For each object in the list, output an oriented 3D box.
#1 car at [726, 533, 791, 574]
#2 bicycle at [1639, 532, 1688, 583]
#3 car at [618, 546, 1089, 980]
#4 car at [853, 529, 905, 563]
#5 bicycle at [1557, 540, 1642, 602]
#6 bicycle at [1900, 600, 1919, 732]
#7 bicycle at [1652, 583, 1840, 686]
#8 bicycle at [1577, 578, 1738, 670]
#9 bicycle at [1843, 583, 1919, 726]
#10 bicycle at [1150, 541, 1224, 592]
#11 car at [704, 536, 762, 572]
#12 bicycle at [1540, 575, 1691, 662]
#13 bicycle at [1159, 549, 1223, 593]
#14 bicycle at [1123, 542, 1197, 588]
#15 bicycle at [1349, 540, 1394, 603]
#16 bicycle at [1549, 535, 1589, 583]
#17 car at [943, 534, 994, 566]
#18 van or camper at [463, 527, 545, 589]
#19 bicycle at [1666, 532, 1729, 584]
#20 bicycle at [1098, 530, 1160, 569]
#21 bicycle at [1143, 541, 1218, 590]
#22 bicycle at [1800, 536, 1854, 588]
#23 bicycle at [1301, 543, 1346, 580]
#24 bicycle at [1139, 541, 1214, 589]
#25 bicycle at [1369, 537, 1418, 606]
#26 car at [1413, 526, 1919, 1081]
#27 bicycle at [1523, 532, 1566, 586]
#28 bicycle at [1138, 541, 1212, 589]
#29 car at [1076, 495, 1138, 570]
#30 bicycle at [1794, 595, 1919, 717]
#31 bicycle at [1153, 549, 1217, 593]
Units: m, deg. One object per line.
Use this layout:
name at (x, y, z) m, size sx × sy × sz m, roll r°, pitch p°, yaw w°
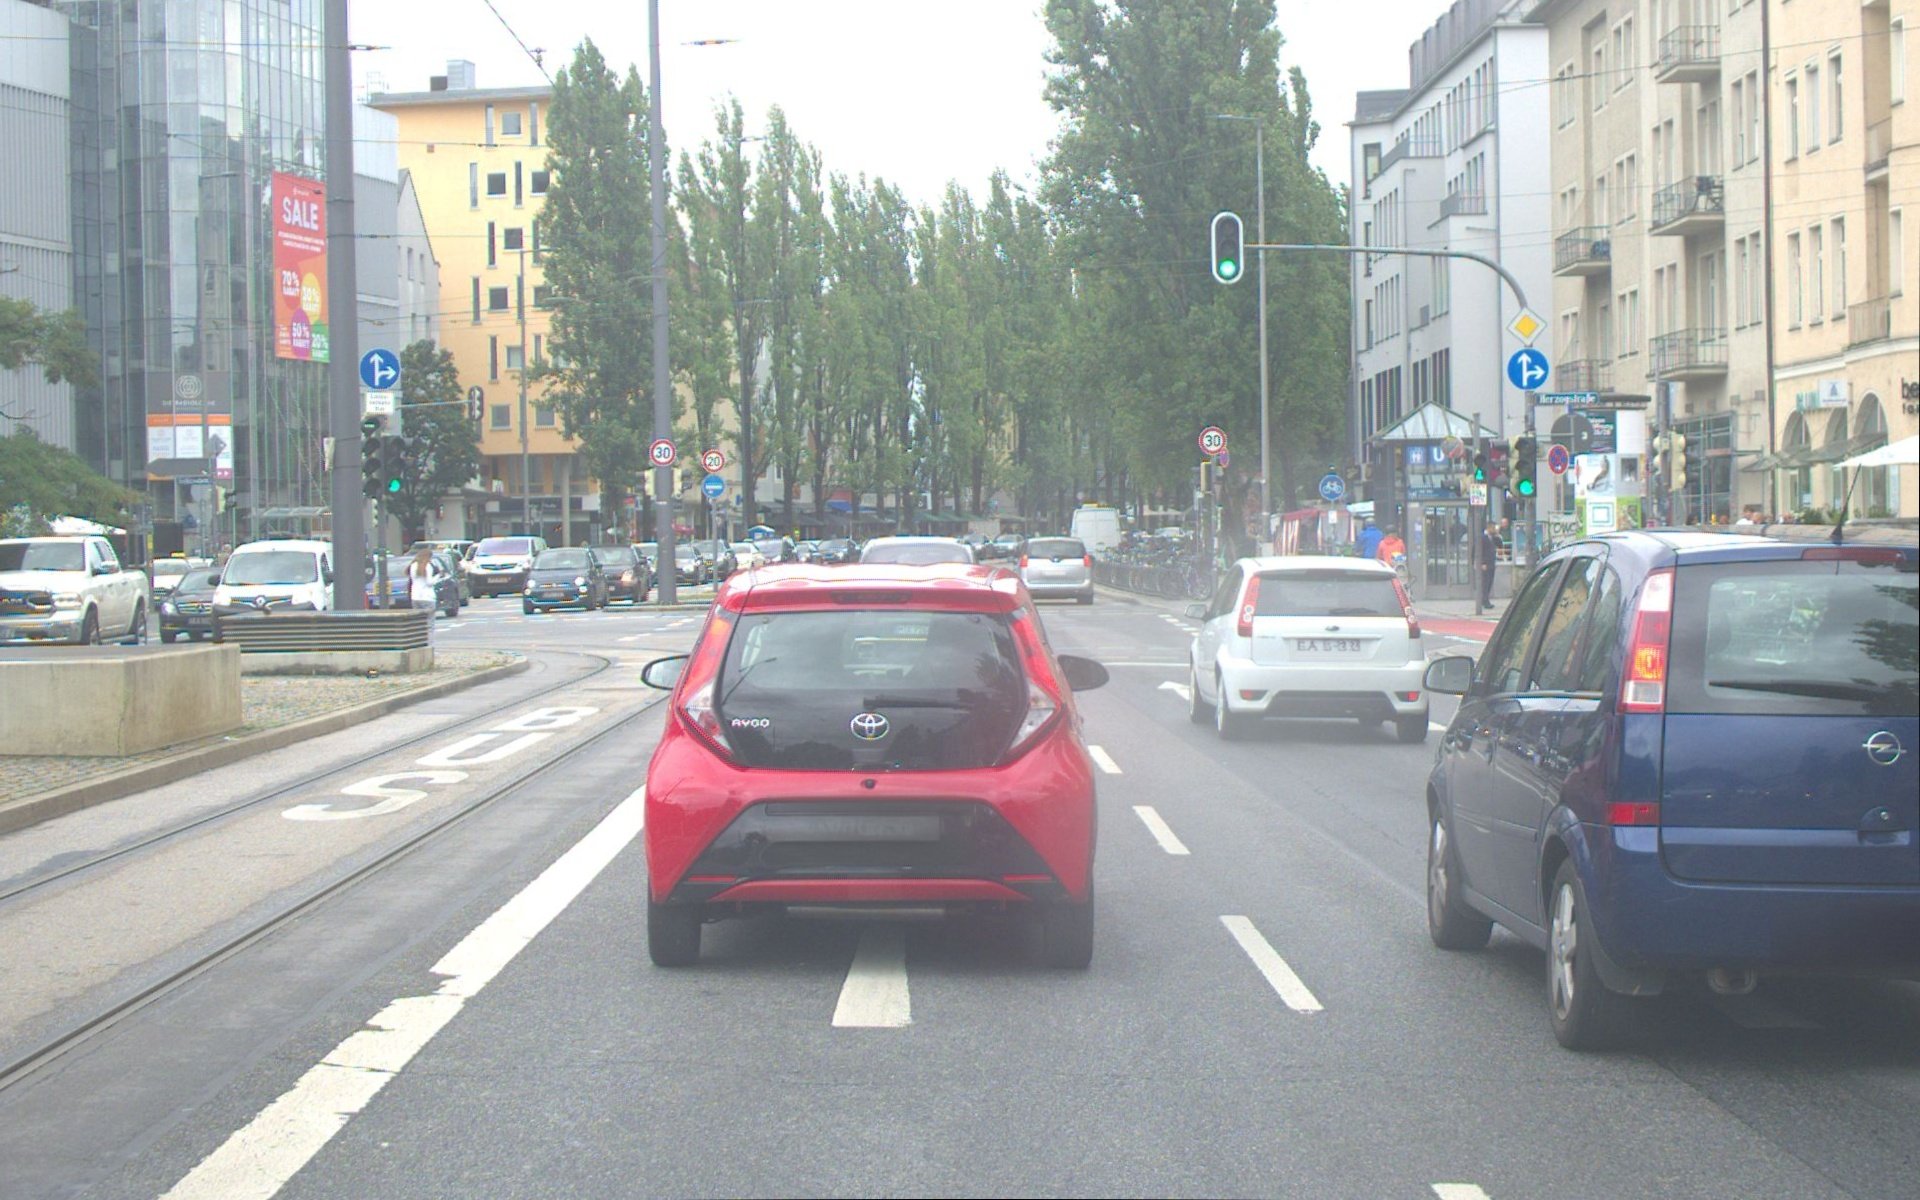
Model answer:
car at (-8.720, -2.020, 148.945) m, size 1.937 × 1.733 × 4.587 m, roll 0°, pitch 2°, yaw 8°
bicycle at (14.773, -0.896, 72.221) m, size 0.494 × 1.055 × 1.867 m, roll -1°, pitch 1°, yaw -5°
car at (-0.347, 0.534, 13.357) m, size 1.605 × 1.456 × 3.130 m, roll 1°, pitch 1°, yaw 1°
car at (-4.041, -2.716, 172.103) m, size 1.994 × 1.686 × 4.920 m, roll -1°, pitch 1°, yaw 5°
bicycle at (12.629, -0.567, 67.894) m, size 1.568 × 1.156 × 0.525 m, roll -2°, pitch 3°, yaw 3°
bicycle at (7.987, 0.524, 25.762) m, size 1.840 × 0.992 × 0.324 m, roll 2°, pitch 3°, yaw 40°
bicycle at (7.790, 0.344, 34.121) m, size 1.840 × 0.992 × 0.347 m, roll -1°, pitch 1°, yaw 40°
bicycle at (7.759, 0.268, 38.292) m, size 1.841 × 0.992 × 0.347 m, roll -1°, pitch 1°, yaw 45°
bicycle at (7.945, 0.426, 27.090) m, size 1.839 × 1.109 × 0.466 m, roll 0°, pitch 2°, yaw 32°
bicycle at (5.409, -0.794, 82.107) m, size 1.803 × 1.194 × 0.558 m, roll 0°, pitch 2°, yaw 43°
car at (-9.334, -1.885, 141.427) m, size 1.765 × 1.417 × 4.639 m, roll -1°, pitch 1°, yaw 4°
bicycle at (7.702, 0.222, 40.448) m, size 1.841 × 0.992 × 0.347 m, roll -1°, pitch 1°, yaw 45°
bicycle at (5.412, -0.678, 80.593) m, size 0.498 × 1.025 × 1.601 m, roll -2°, pitch 2°, yaw -42°
bicycle at (5.106, -0.895, 87.686) m, size 1.803 × 1.154 × 0.651 m, roll 0°, pitch 2°, yaw 36°
bicycle at (8.479, -0.600, 70.946) m, size 0.614 × 1.260 × 2.520 m, roll -1°, pitch 1°, yaw 1°
bicycle at (12.814, -0.870, 72.408) m, size 0.494 × 0.971 × 1.866 m, roll -1°, pitch 1°, yaw 0°
car at (0.499, -2.844, 195.374) m, size 1.995 × 1.722 × 3.915 m, roll -1°, pitch 1°, yaw 14°
van or camper at (-14.147, -1.326, 106.835) m, size 1.928 × 1.819 × 5.441 m, roll -1°, pitch 1°, yaw -1°
bicycle at (15.541, -0.892, 72.486) m, size 0.494 × 1.055 × 1.867 m, roll -1°, pitch 1°, yaw -15°
bicycle at (4.896, -1.459, 99.494) m, size 1.836 × 1.132 × 0.585 m, roll 0°, pitch 2°, yaw 43°
bicycle at (5.345, -0.836, 83.500) m, size 1.803 × 1.154 × 0.547 m, roll 0°, pitch 2°, yaw 38°
bicycle at (18.486, -0.815, 73.305) m, size 0.494 × 1.085 × 1.867 m, roll -1°, pitch 1°, yaw -6°
bicycle at (9.863, -1.046, 93.333) m, size 1.181 × 0.960 × 0.369 m, roll -1°, pitch 1°, yaw 4°
bicycle at (5.353, -0.867, 84.992) m, size 1.801 × 1.154 × 0.486 m, roll 0°, pitch 1°, yaw 26°
bicycle at (8.199, -0.555, 65.078) m, size 0.614 × 1.260 × 2.520 m, roll -1°, pitch 1°, yaw 1°
car at (2.613, 0.546, 11.577) m, size 1.703 × 1.584 × 3.556 m, roll 0°, pitch 1°, yaw 0°
bicycle at (12.313, -0.880, 72.428) m, size 0.566 × 1.104 × 1.866 m, roll -1°, pitch 1°, yaw 0°
bicycle at (5.251, -0.853, 84.183) m, size 1.803 × 1.154 × 0.547 m, roll 0°, pitch 2°, yaw 38°
car at (5.428, -2.497, 127.665) m, size 2.107 × 2.709 × 4.804 m, roll -1°, pitch 1°, yaw 1°
bicycle at (7.850, 0.463, 28.568) m, size 1.841 × 0.992 × 0.347 m, roll -1°, pitch 1°, yaw 44°
bicycle at (5.332, -0.699, 81.448) m, size 0.498 × 1.025 × 1.601 m, roll -2°, pitch 2°, yaw -42°
